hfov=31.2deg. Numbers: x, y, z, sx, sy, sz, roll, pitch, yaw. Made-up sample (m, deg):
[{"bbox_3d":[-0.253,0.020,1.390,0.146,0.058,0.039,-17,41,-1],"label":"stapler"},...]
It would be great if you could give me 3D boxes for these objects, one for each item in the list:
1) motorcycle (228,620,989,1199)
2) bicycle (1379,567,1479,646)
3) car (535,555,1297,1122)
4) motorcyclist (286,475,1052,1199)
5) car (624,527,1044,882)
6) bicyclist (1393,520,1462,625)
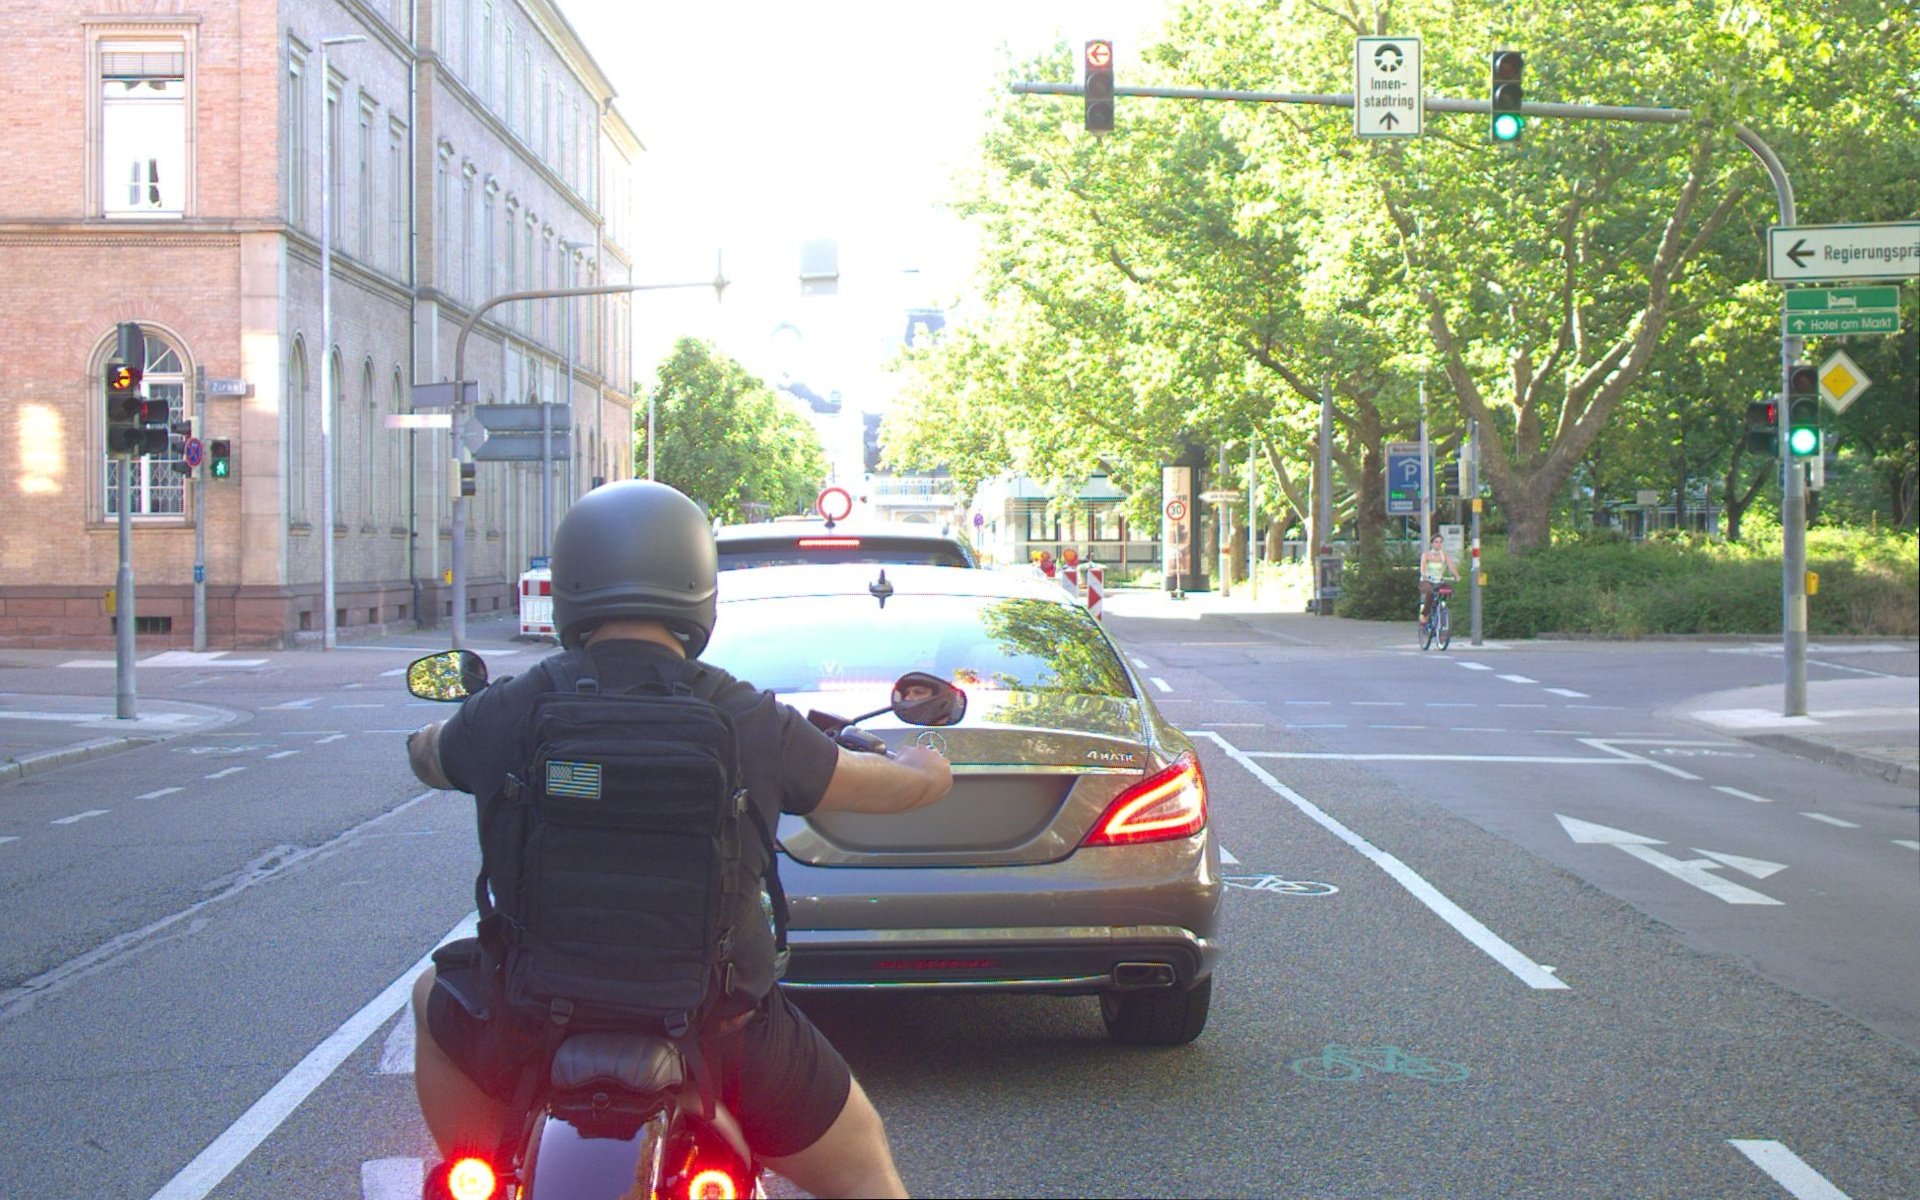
[{"bbox_3d":[-0.467,0.734,5.551,0.962,1.352,2.320,1,1,-1],"label":"motorcycle"},{"bbox_3d":[7.140,0.085,52.434,0.715,1.168,2.177,1,1,-15],"label":"bicycle"},{"bbox_3d":[-0.362,0.584,11.097,1.901,1.436,4.290,0,1,-8],"label":"car"},{"bbox_3d":[-0.417,0.616,5.279,1.061,1.577,0.908,1,0,-1],"label":"motorcyclist"},{"bbox_3d":[-0.649,0.414,16.782,1.813,1.530,3.849,0,1,-3],"label":"car"},{"bbox_3d":[7.137,-0.420,52.467,0.716,1.577,0.936,1,0,-14],"label":"bicyclist"}]
